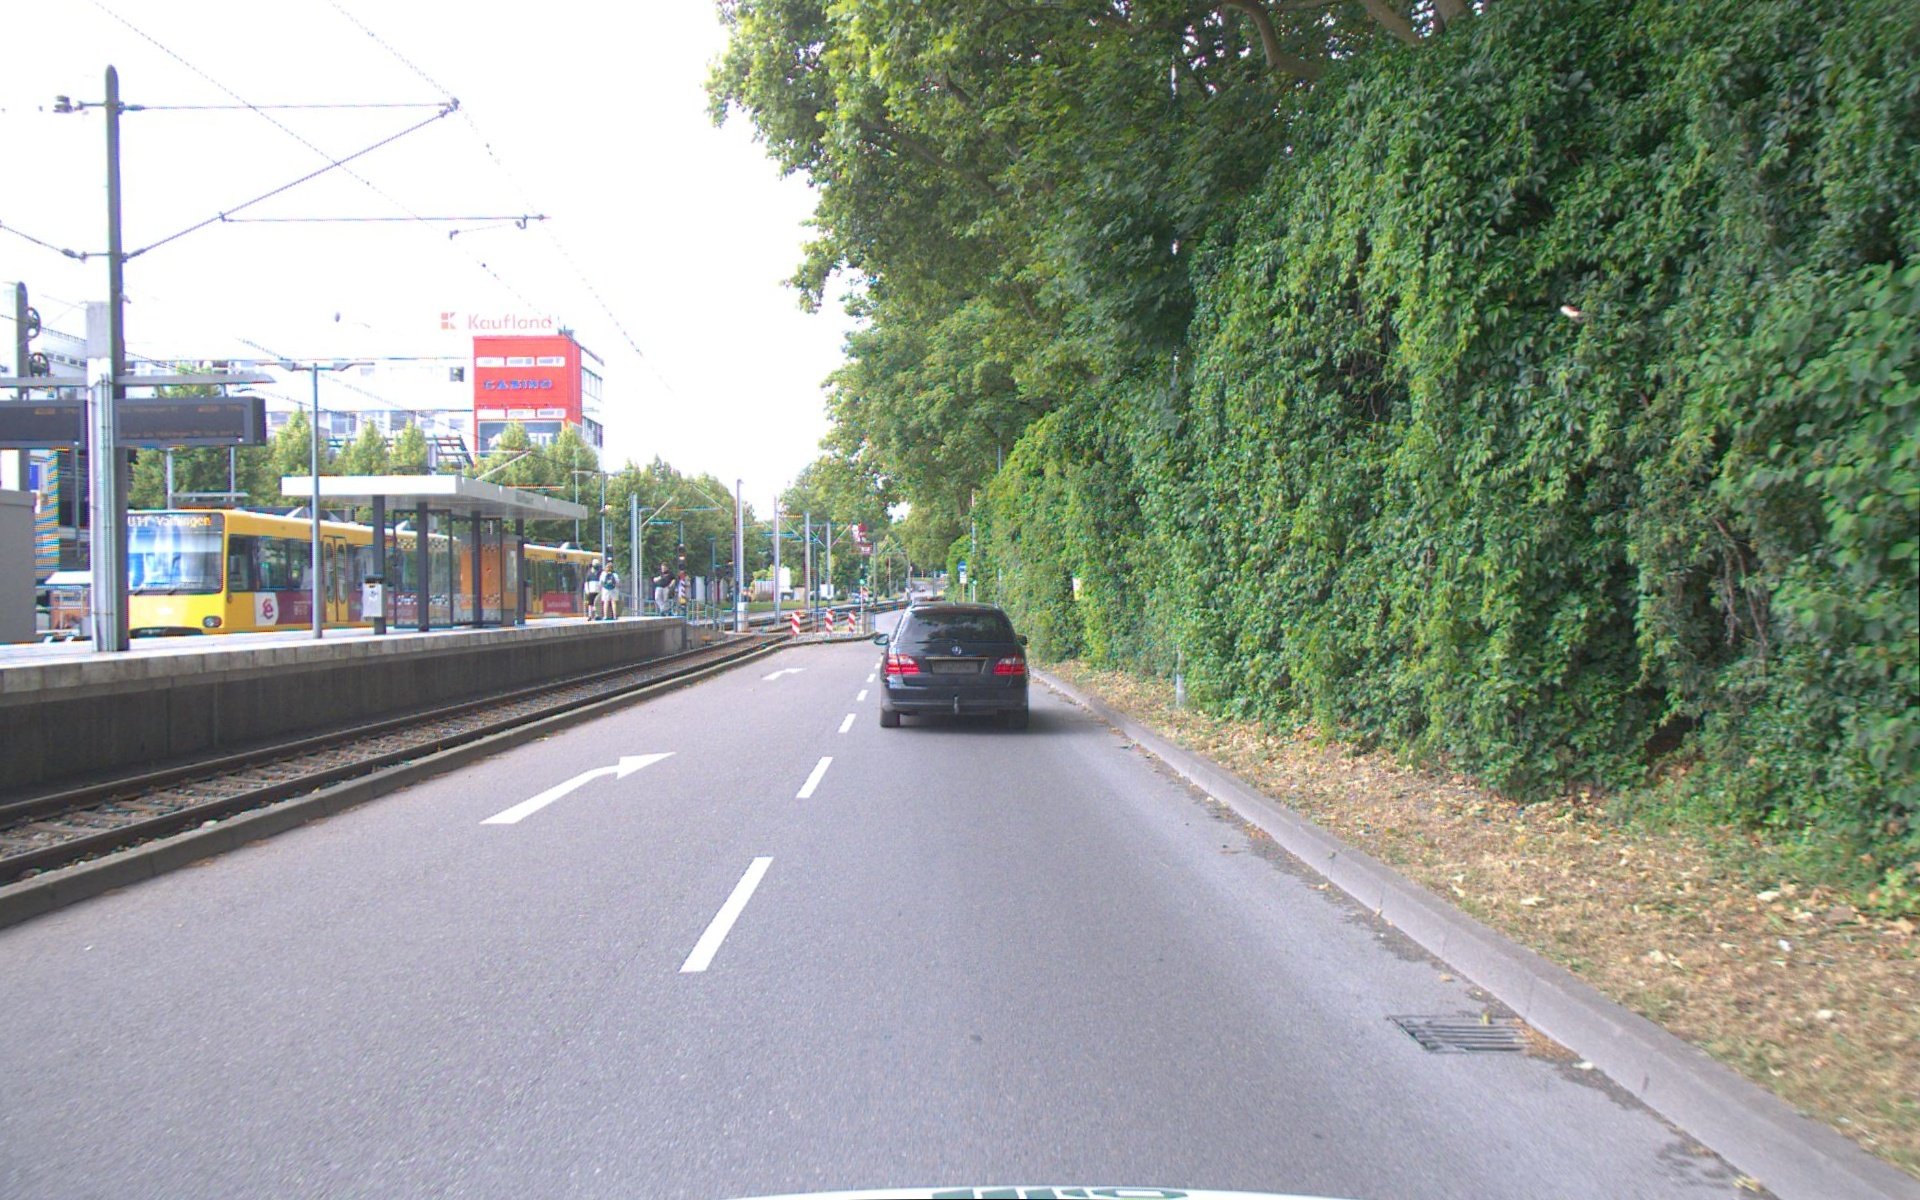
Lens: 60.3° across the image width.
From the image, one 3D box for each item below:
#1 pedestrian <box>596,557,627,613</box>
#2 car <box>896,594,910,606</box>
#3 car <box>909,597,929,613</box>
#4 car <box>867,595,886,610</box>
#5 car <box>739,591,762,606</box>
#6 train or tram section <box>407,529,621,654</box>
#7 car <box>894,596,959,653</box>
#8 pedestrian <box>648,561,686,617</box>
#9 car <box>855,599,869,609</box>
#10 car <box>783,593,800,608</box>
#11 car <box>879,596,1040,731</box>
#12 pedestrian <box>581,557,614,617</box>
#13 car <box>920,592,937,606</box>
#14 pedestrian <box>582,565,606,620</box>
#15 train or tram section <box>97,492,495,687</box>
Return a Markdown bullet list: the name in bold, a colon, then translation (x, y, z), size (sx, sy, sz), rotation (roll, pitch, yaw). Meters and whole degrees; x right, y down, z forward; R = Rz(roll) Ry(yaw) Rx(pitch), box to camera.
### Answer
- **pedestrian**: translation (-9.534, -0.401, 45.255), size (0.510, 1.508, 0.579), rotation (-2, 0, 37)
- **car**: translation (-7.693, -0.037, 222.906), size (1.788, 1.556, 3.986), rotation (0, 0, 0)
- **car**: translation (-3.997, 0.495, 161.801), size (1.788, 1.556, 4.416), rotation (-1, 0, 0)
- **car**: translation (-9.046, 0.225, 178.834), size (1.788, 1.556, 3.928), rotation (0, 0, 0)
- **car**: translation (-25.610, -0.150, 202.387), size (1.952, 1.773, 4.989), rotation (-1, 0, 3)
- **train or tram section**: translation (-16.151, -0.210, 62.101), size (2.700, 3.895, 18.631), rotation (-2, 0, 1)
- **car**: translation (-1.001, 0.665, 48.122), size (1.788, 1.556, 4.414), rotation (0, 0, -2)
- **pedestrian**: translation (-9.138, -0.351, 51.596), size (0.732, 1.707, 0.871), rotation (-2, 0, 42)
- **car**: translation (-14.433, 0.531, 243.688), size (1.625, 1.417, 3.721), rotation (0, 0, 4)
- **car**: translation (-23.799, 0.095, 233.603), size (1.953, 2.049, 3.999), rotation (-2, 0, -2)
- **car**: translation (-0.028, 0.711, 20.694), size (1.796, 1.504, 4.415), rotation (0, 0, -1)
- **pedestrian**: translation (-10.616, -0.368, 48.466), size (0.755, 1.707, 0.790), rotation (-2, 0, -1)
- **car**: translation (-3.533, -0.139, 184.047), size (1.788, 1.556, 3.928), rotation (0, 0, 0)
- **pedestrian**: translation (-10.174, -0.216, 45.984), size (0.470, 1.509, 0.537), rotation (-2, 0, -28)
- **train or tram section**: translation (-16.354, -0.240, 43.518), size (2.700, 3.950, 18.632), rotation (-2, 0, 1)
